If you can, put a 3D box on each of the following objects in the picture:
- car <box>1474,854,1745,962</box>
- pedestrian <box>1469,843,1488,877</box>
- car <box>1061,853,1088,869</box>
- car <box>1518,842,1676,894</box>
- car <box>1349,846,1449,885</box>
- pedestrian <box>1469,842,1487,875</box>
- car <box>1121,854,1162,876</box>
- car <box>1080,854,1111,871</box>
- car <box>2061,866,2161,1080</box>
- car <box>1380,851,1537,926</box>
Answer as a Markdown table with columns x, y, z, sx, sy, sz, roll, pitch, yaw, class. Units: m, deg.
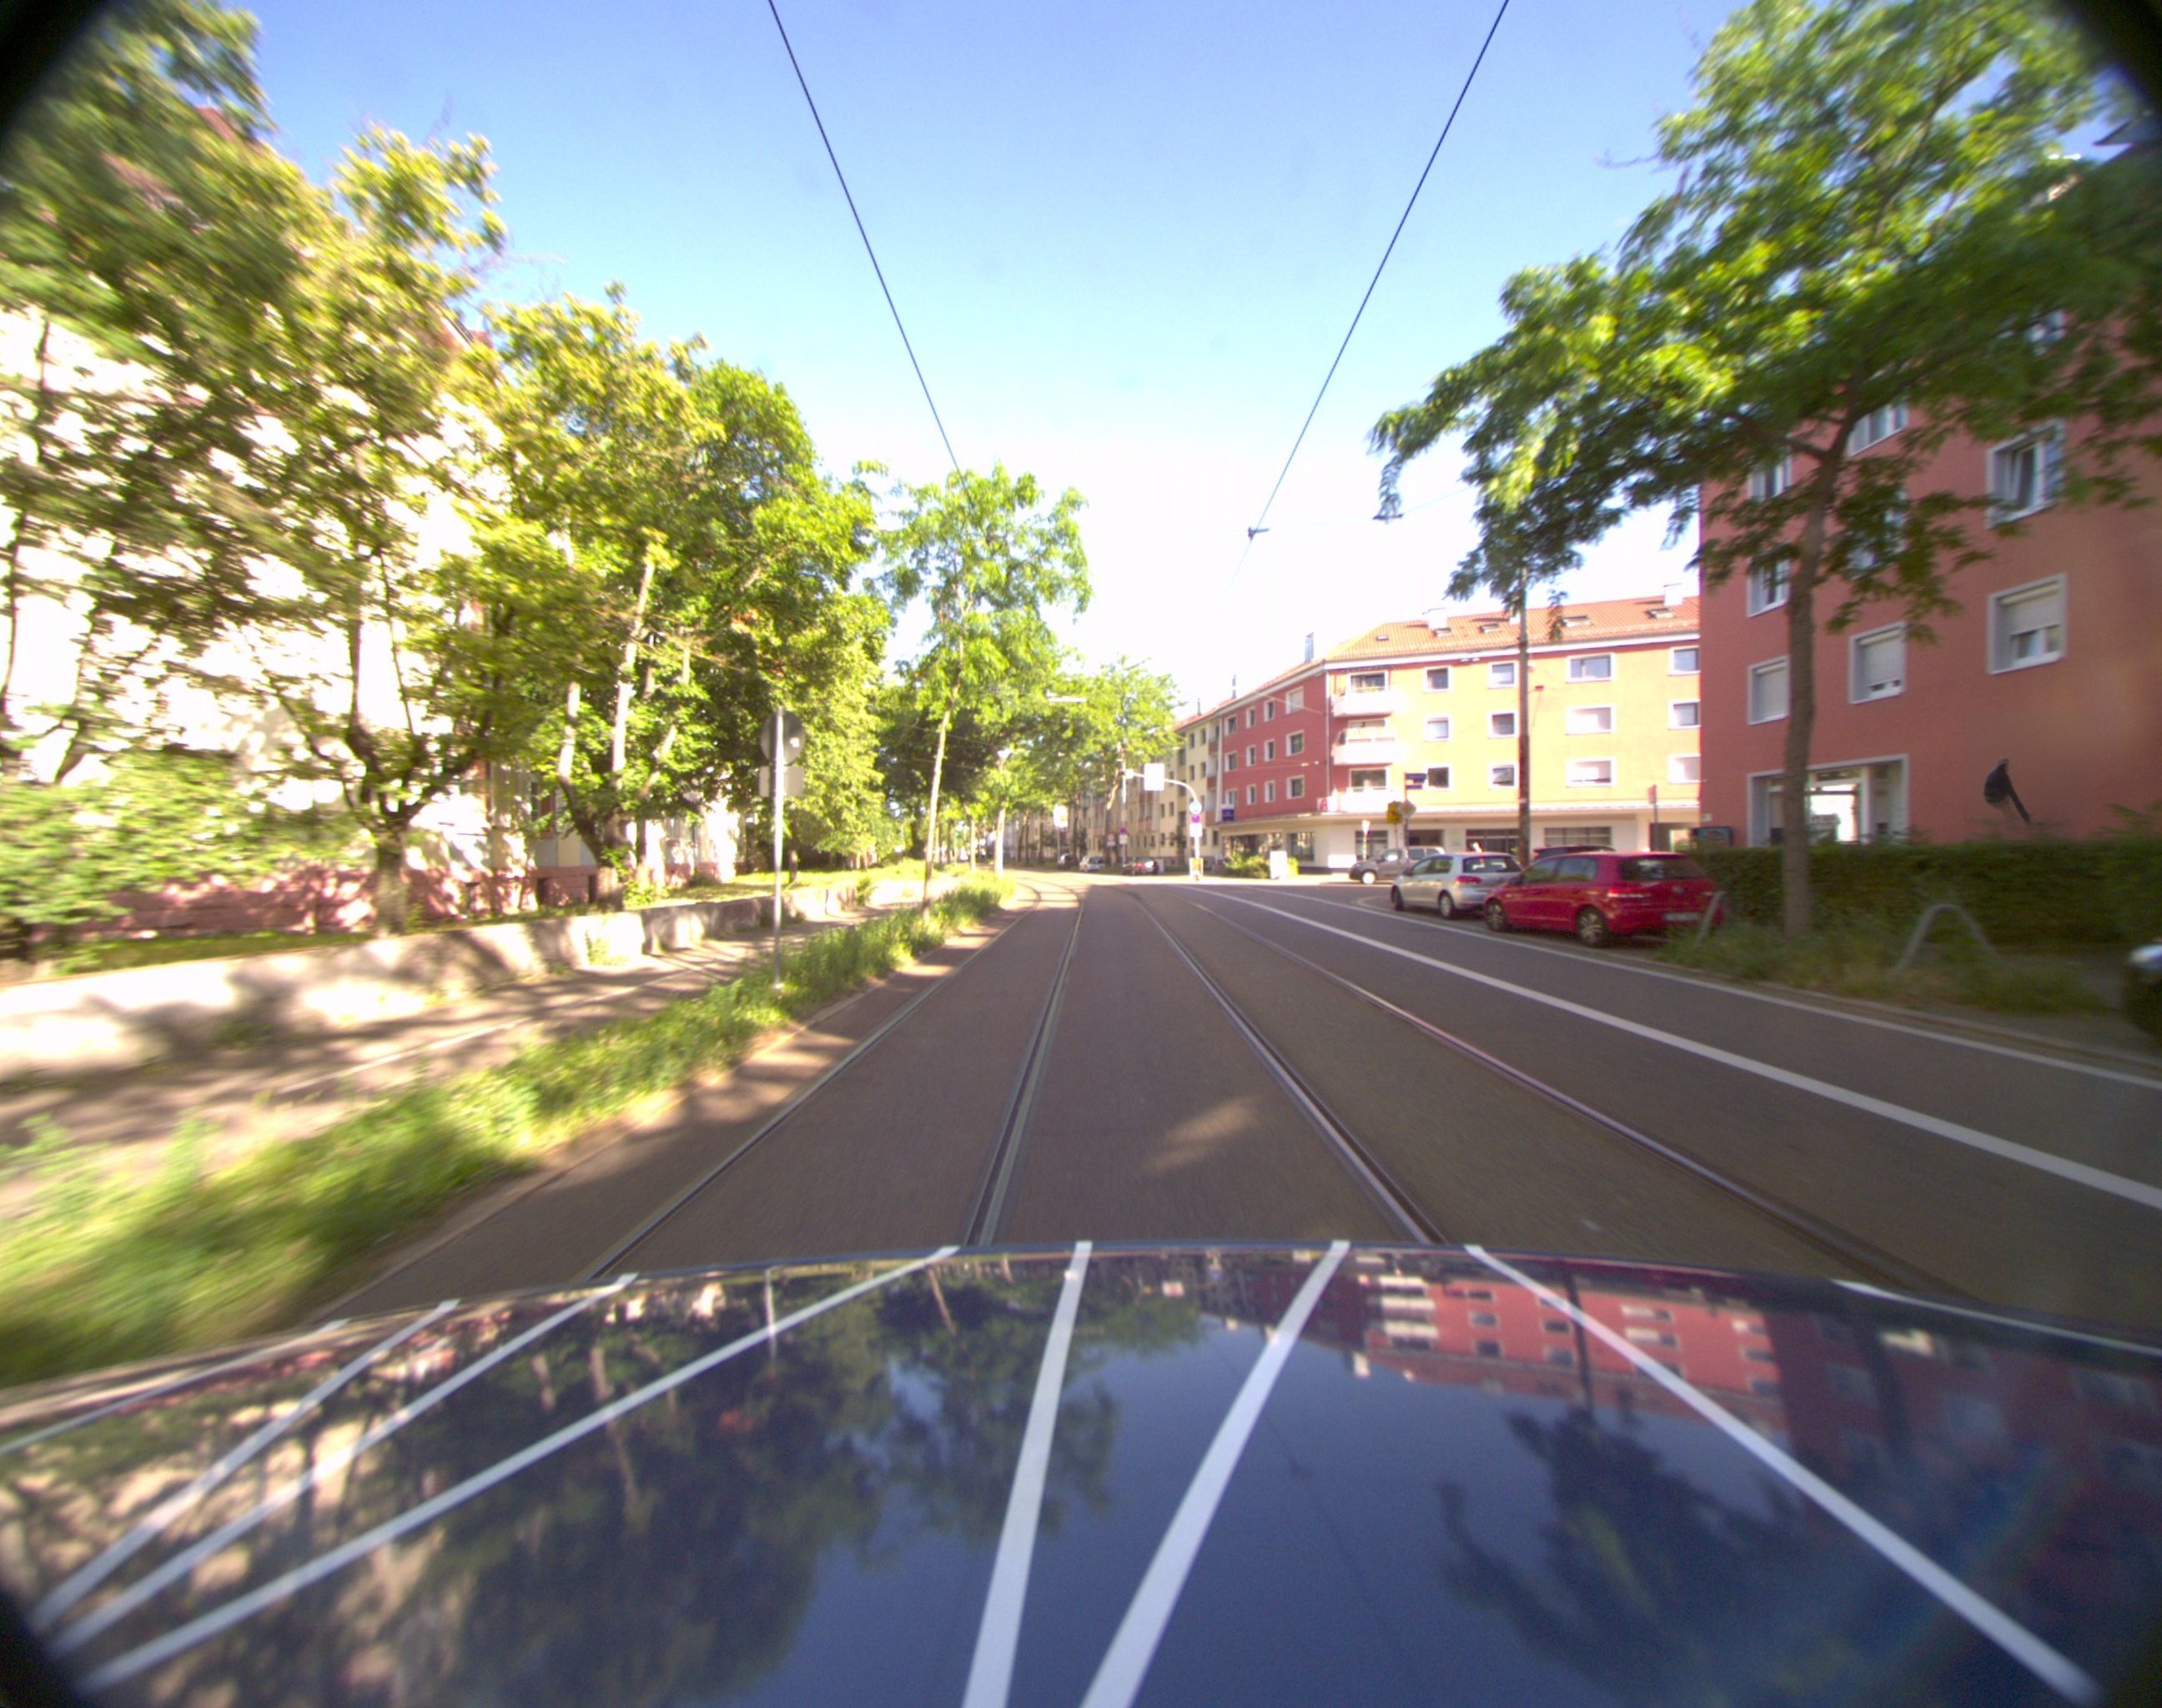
| x | y | z | sx | sy | sz | roll | pitch | yaw | class |
| --- | --- | --- | --- | --- | --- | --- | --- | --- | --- |
| 8.452 | 0.753 | 12.666 | 1.577 | 1.446 | 4.095 | -2 | 0 | -1 | car |
| 20.814 | 0.328 | 39.771 | 0.803 | 1.755 | 0.509 | 0 | 1 | 21 | pedestrian |
| -0.661 | 0.668 | 74.237 | 1.880 | 1.390 | 3.996 | -4 | 0 | -9 | car |
| 18.714 | 0.477 | 27.818 | 4.481 | 1.769 | 1.791 | 0 | 1 | 22 | car |
| 15.059 | 0.521 | 36.201 | 4.280 | 1.769 | 1.791 | 0 | 1 | 18 | car |
| 21.408 | 0.258 | 40.993 | 0.803 | 1.755 | 0.509 | 0 | 1 | 21 | pedestrian |
| 4.252 | 0.726 | 53.726 | 1.880 | 1.390 | 3.996 | -4 | 0 | -9 | car |
| 1.237 | 0.738 | 66.760 | 1.880 | 1.390 | 3.996 | -4 | 0 | -9 | car |
| 8.203 | 0.828 | 3.940 | 1.558 | 1.446 | 3.668 | -2 | 0 | 1 | car |
| 8.632 | 0.714 | 17.796 | 1.577 | 1.497 | 4.096 | -2 | 0 | 0 | car |
